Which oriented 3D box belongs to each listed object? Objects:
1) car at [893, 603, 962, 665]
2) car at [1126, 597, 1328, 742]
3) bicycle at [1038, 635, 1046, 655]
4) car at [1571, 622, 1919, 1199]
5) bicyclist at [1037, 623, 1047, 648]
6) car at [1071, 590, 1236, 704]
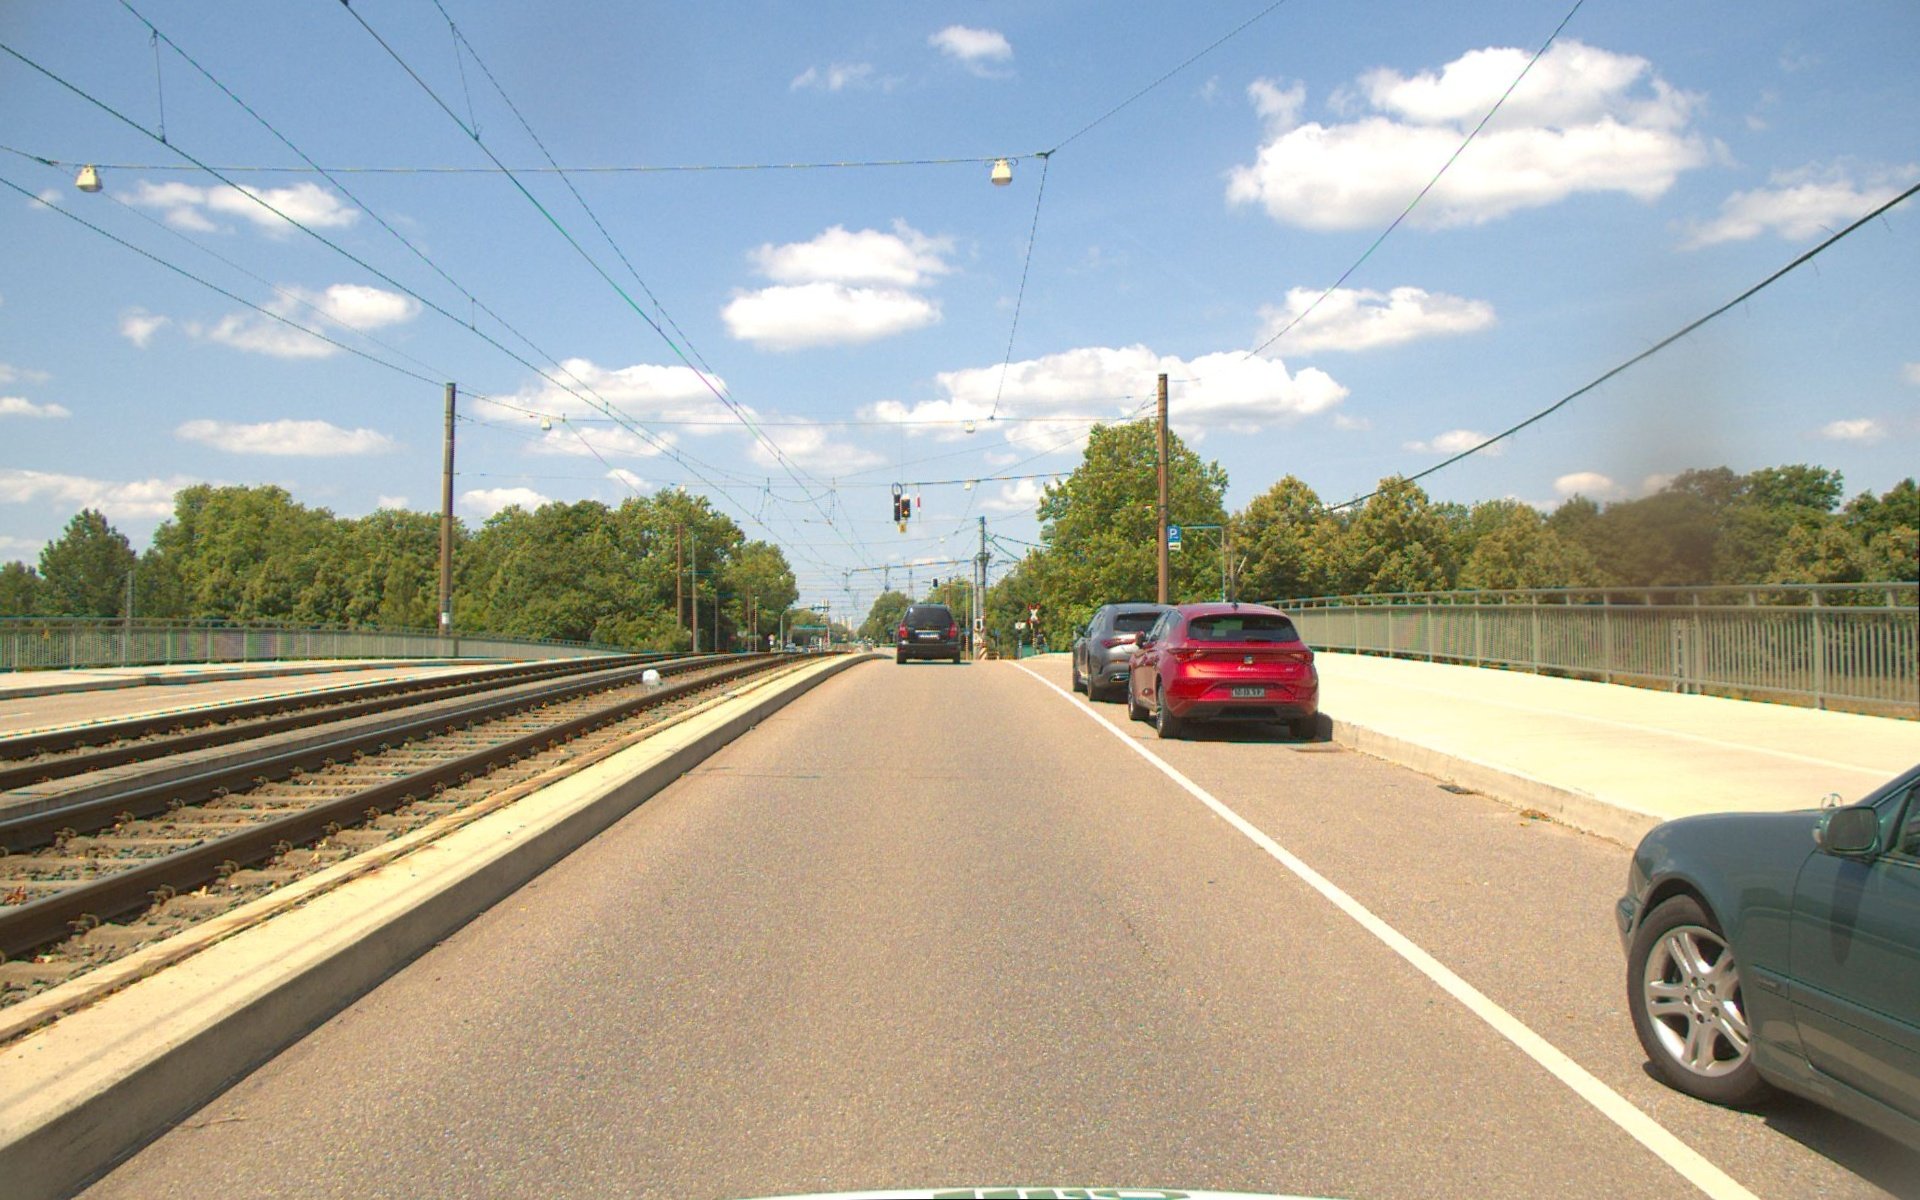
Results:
[{"bbox_3d":[-0.880,0.897,45.680,1.815,1.597,4.387,0,0,-1],"label":"car"},{"bbox_3d":[3.014,0.725,19.479,1.613,1.485,4.285,0,0,-1],"label":"car"},{"bbox_3d":[4.925,2.712,99.553,0.423,1.172,1.855,0,0,0],"label":"bicycle"},{"bbox_3d":[3.143,0.802,3.726,1.651,1.382,4.590,1,0,-3],"label":"car"},{"bbox_3d":[4.952,2.139,99.550,0.573,1.521,0.558,0,0,0],"label":"bicyclist"},{"bbox_3d":[2.899,0.654,25.752,1.953,1.579,4.721,0,1,-1],"label":"car"}]
